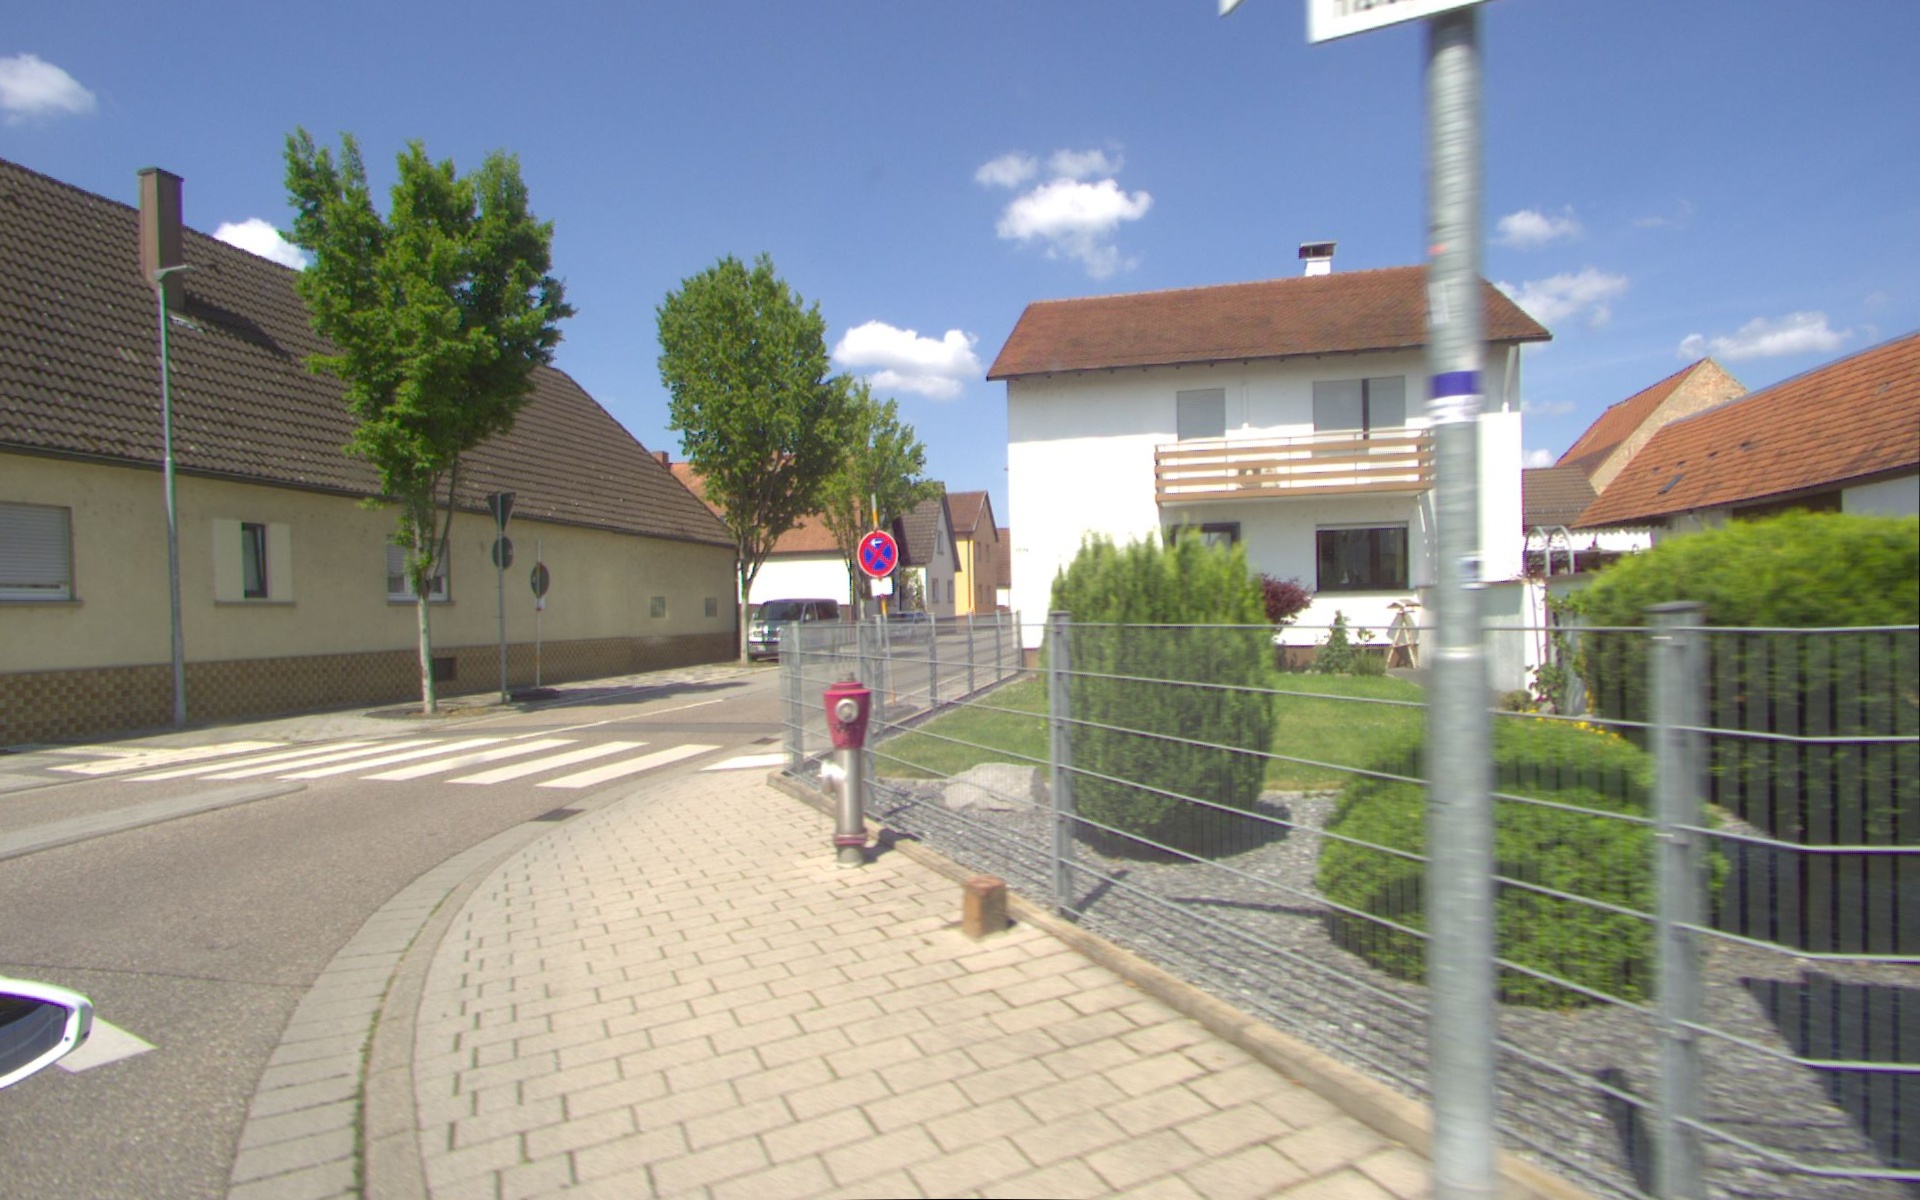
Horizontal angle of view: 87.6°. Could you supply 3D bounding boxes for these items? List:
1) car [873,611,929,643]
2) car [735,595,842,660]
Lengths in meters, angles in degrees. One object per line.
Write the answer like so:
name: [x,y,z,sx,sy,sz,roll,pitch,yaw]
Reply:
car: [-2.638,1.191,45.389,1.655,1.400,3.558,0,0,12]
car: [-5.475,0.839,32.643,1.962,1.964,4.475,0,0,12]
